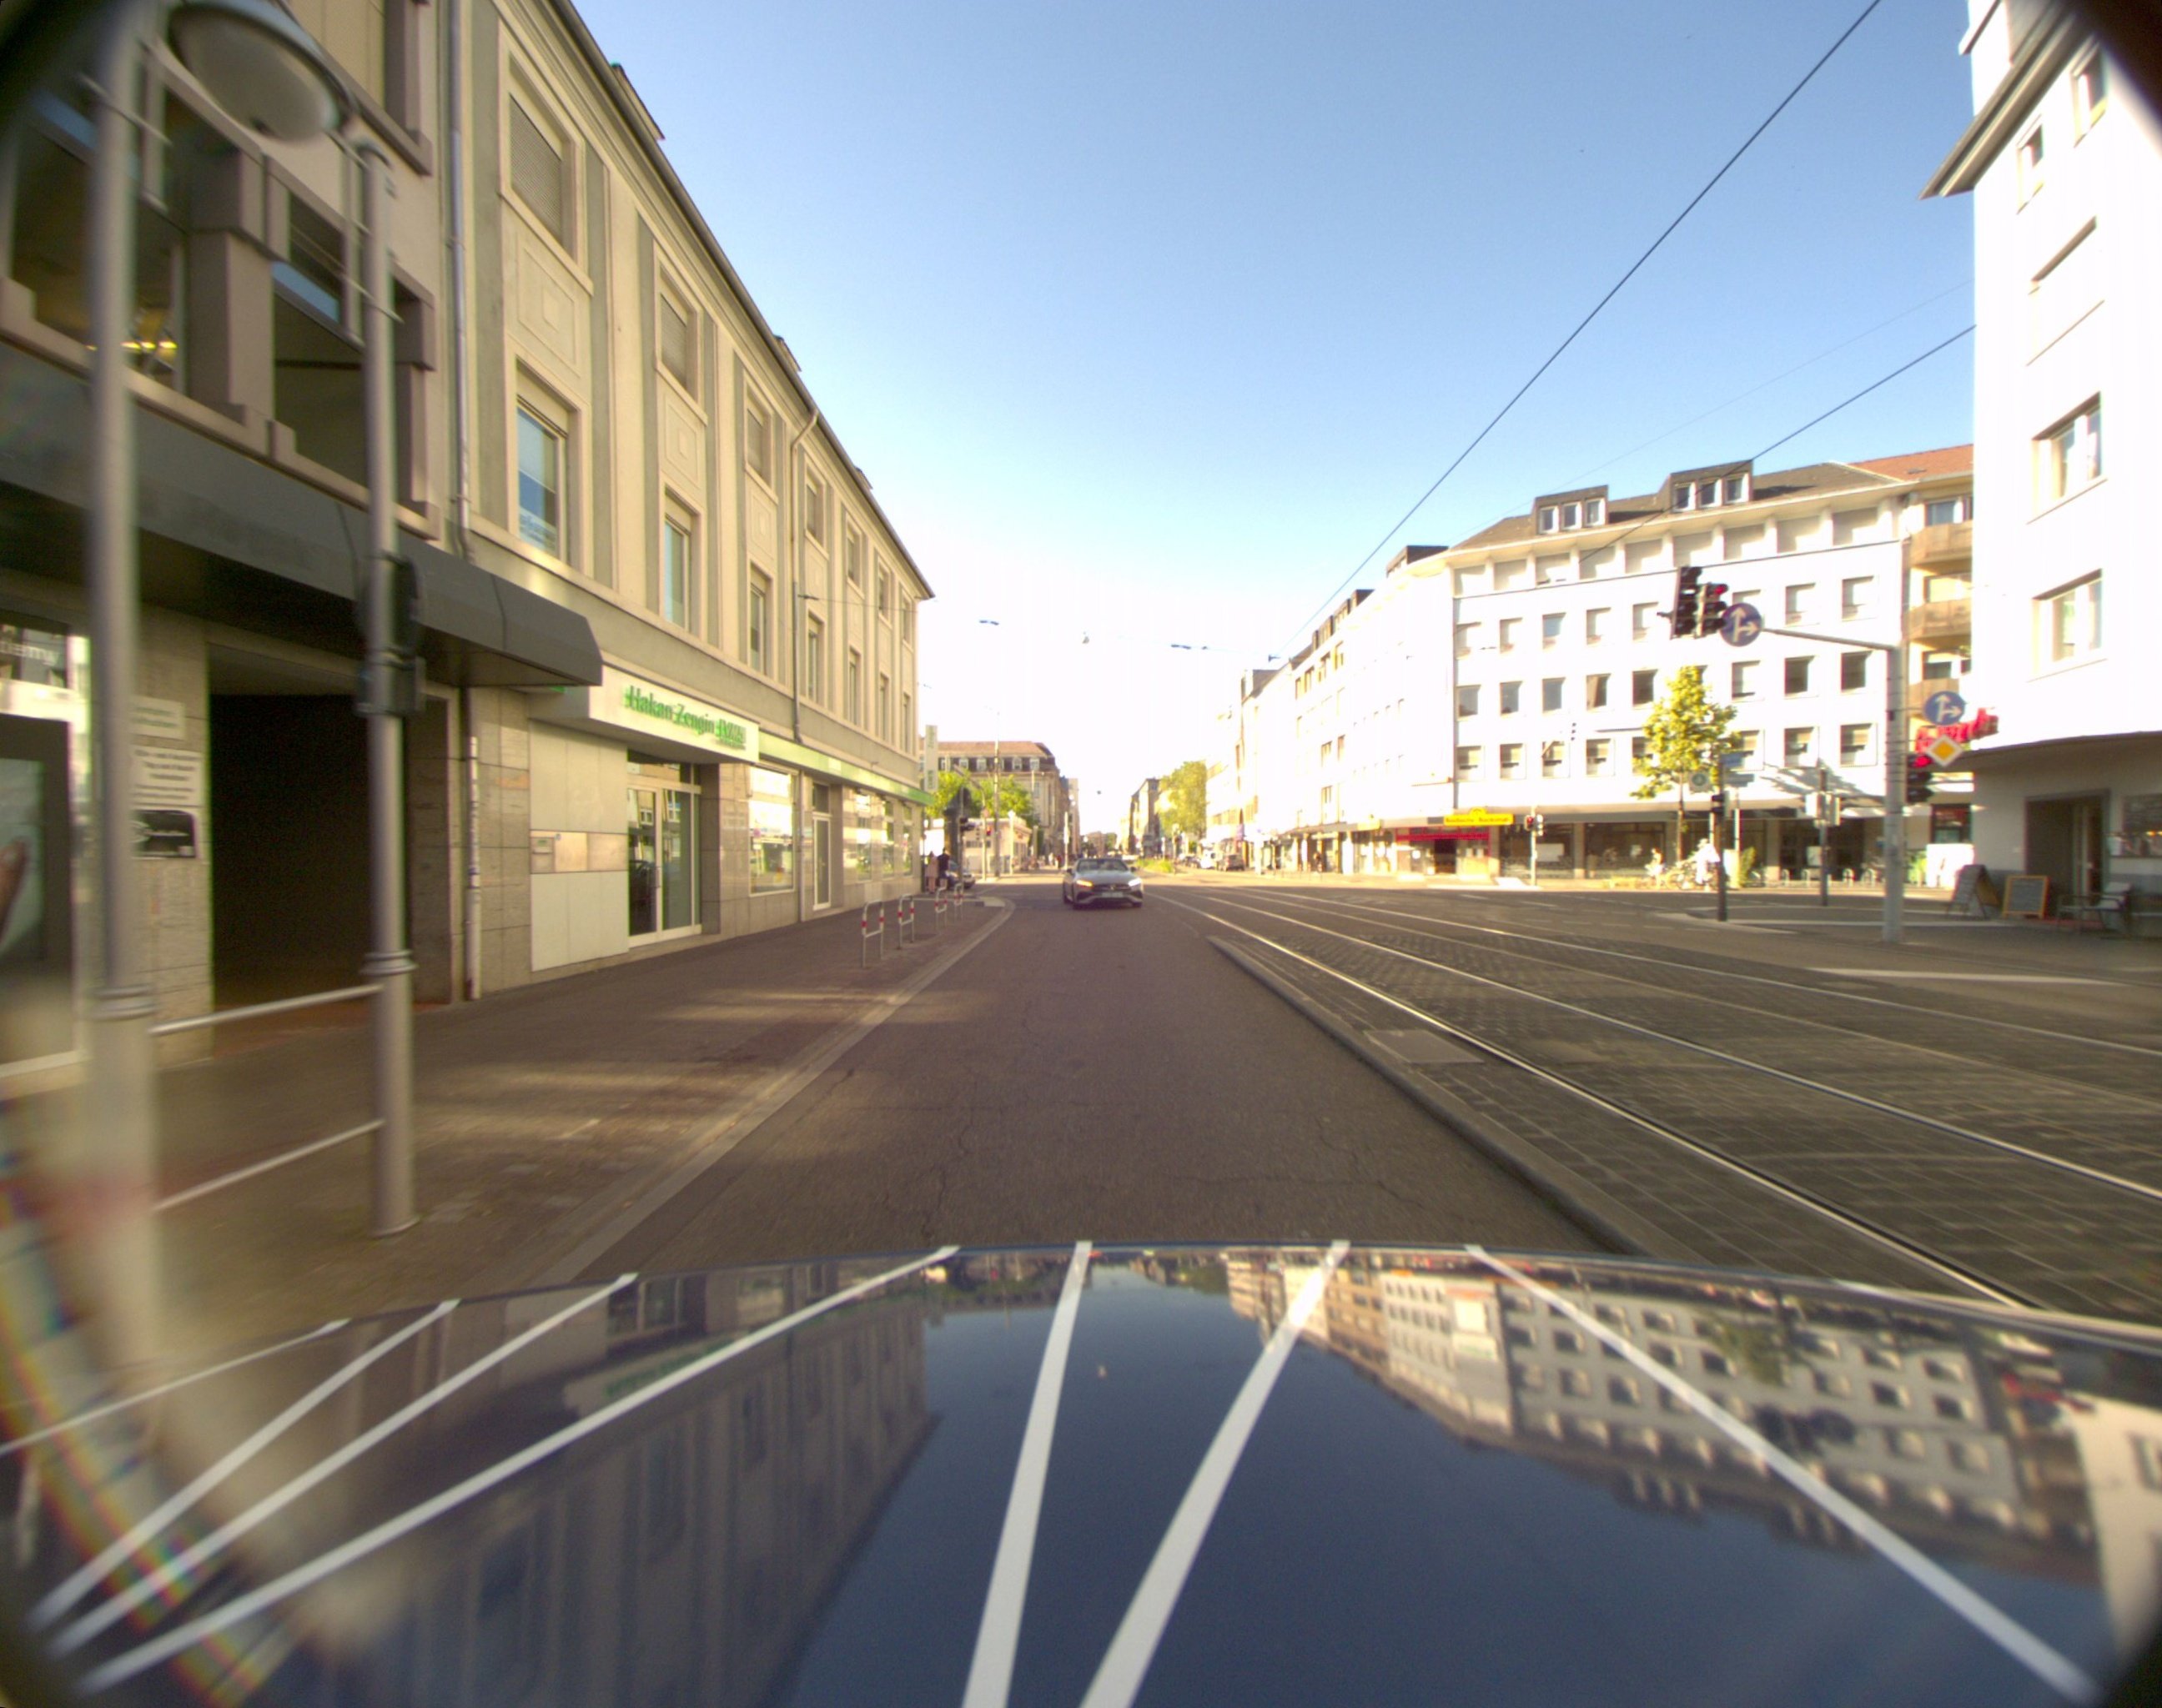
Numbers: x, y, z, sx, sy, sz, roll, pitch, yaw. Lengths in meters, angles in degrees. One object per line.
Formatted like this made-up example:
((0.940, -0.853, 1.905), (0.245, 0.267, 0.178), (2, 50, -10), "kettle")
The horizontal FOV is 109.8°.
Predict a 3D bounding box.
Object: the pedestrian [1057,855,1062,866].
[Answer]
((-2.485, 0.729, 87.699), (0.509, 1.266, 0.719), (0, 1, -6), "pedestrian")

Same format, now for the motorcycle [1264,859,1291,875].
((18.258, 1.176, 70.785), (2.254, 1.496, 1.000), (0, 0, -2), "motorcycle")

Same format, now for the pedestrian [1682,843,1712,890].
((22.964, 0.448, 28.335), (0.558, 1.718, 0.781), (0, 1, 11), "pedestrian")

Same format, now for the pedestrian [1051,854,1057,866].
((-3.100, 0.683, 87.365), (0.622, 1.266, 0.779), (0, 1, -1), "pedestrian")

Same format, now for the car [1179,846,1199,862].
((13.664, 0.012, 96.452), (1.998, 2.002, 4.000), (0, 0, 1), "car")

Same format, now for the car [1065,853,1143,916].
((0.536, 0.771, 21.529), (1.910, 1.454, 4.361), (-1, 2, -2), "car")

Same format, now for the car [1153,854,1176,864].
((14.800, 0.837, 134.812), (3.996, 1.787, 2.000), (0, 0, 2), "car")

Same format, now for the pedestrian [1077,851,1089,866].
((0.450, 0.823, 142.536), (1.381, 2.774, 1.946), (-1, 1, -36), "pedestrian")

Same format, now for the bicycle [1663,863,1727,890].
((22.974, 0.832, 28.462), (1.791, 0.962, 0.554), (0, 0, 13), "bicycle")

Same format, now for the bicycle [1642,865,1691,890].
((22.859, 0.928, 29.672), (1.453, 0.950, 0.482), (0, 0, 11), "bicycle")

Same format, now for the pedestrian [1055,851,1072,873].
((-1.353, 0.574, 57.935), (0.947, 1.653, 0.914), (0, 0, -40), "pedestrian")

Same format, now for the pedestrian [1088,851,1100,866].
((2.502, 0.805, 142.588), (1.296, 2.774, 1.835), (-1, 1, -41), "pedestrian")

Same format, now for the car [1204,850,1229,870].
((14.133, 0.605, 79.503), (1.998, 2.002, 4.843), (0, 0, 4), "car")

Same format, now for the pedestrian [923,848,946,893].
((-5.785, 0.650, 29.979), (0.648, 1.749, 0.575), (0, 1, 25), "pedestrian")

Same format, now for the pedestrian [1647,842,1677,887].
((22.644, 0.402, 29.630), (0.653, 1.703, 0.793), (0, 1, 10), "pedestrian")

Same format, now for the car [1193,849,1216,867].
((13.845, 0.455, 85.170), (1.998, 2.002, 4.000), (0, 0, 1), "car")

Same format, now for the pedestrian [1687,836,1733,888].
((22.854, 0.304, 27.636), (1.000, 1.855, 0.781), (0, -2, 10), "pedestrian")

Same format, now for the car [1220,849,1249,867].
((14.329, 0.366, 71.214), (1.998, 1.696, 4.000), (0, 0, 1), "car")

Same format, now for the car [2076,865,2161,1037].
((9.930, 0.851, 4.857), (1.717, 1.437, 4.139), (2, 0, 1), "car")

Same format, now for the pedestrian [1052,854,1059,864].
((-3.610, 0.672, 108.959), (0.946, 1.456, 0.780), (0, 1, 2), "pedestrian")

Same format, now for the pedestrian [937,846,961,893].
((-5.212, 0.599, 29.922), (0.680, 1.831, 0.643), (0, 1, 25), "pedestrian")

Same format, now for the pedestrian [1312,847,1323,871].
((16.487, 0.351, 52.994), (0.710, 1.699, 0.561), (0, 0, 22), "pedestrian")

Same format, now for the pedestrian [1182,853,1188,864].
((15.231, 0.645, 111.197), (0.578, 1.705, 0.708), (1, 1, 44), "pedestrian")

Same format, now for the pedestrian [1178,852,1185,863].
((14.764, 0.554, 111.656), (0.578, 1.615, 0.708), (1, 1, 44), "pedestrian")

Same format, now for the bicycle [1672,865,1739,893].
((22.743, 0.921, 27.710), (1.722, 1.001, 0.762), (0, -2, 13), "bicycle")

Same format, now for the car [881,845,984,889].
((-6.670, 0.576, 34.302), (4.089, 1.860, 1.913), (0, 2, 17), "car")
